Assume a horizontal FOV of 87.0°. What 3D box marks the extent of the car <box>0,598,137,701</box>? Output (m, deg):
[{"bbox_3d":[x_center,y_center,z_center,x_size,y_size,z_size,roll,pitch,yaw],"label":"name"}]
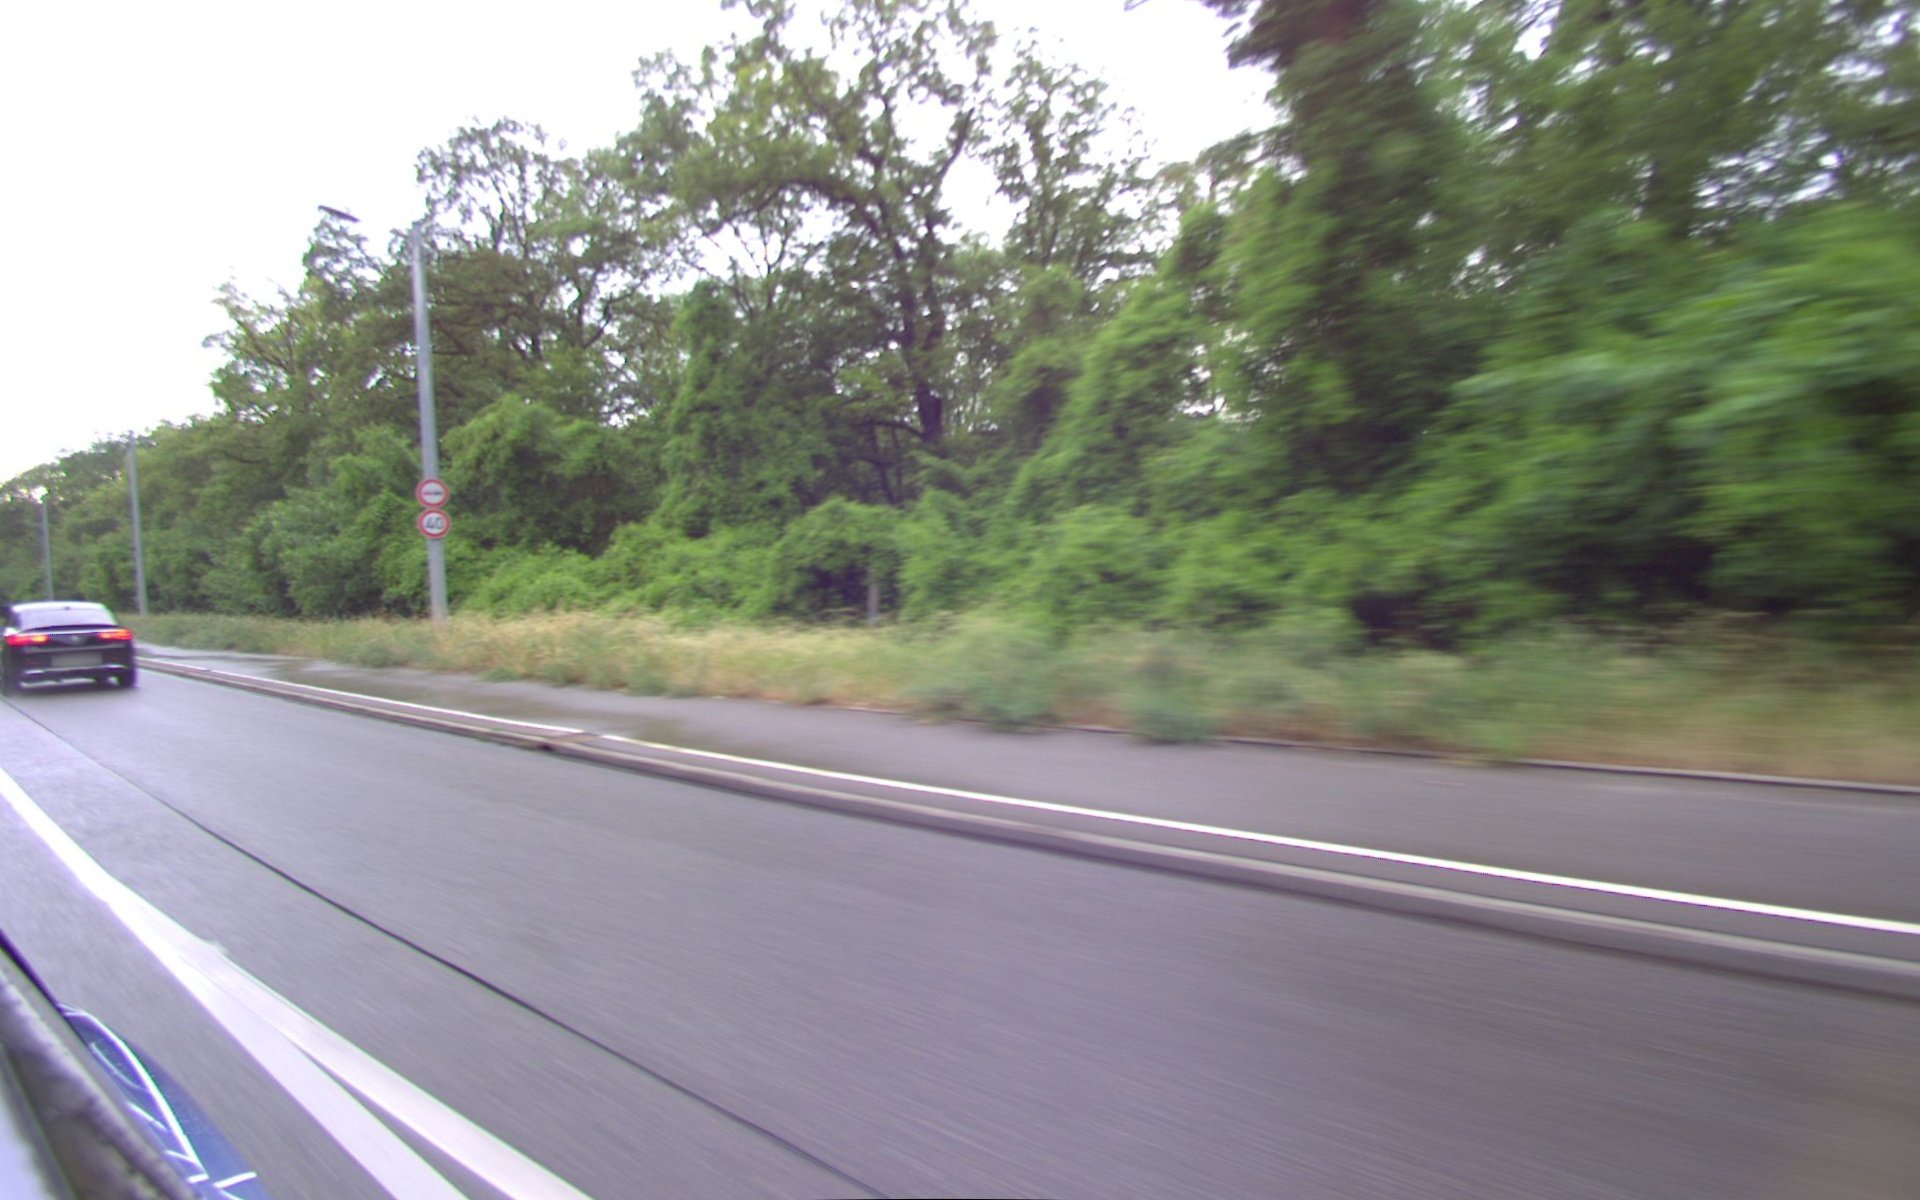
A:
[{"bbox_3d":[-18.282,0.927,20.417,4.708,1.800,1.972,-1,0,43],"label":"car"}]
